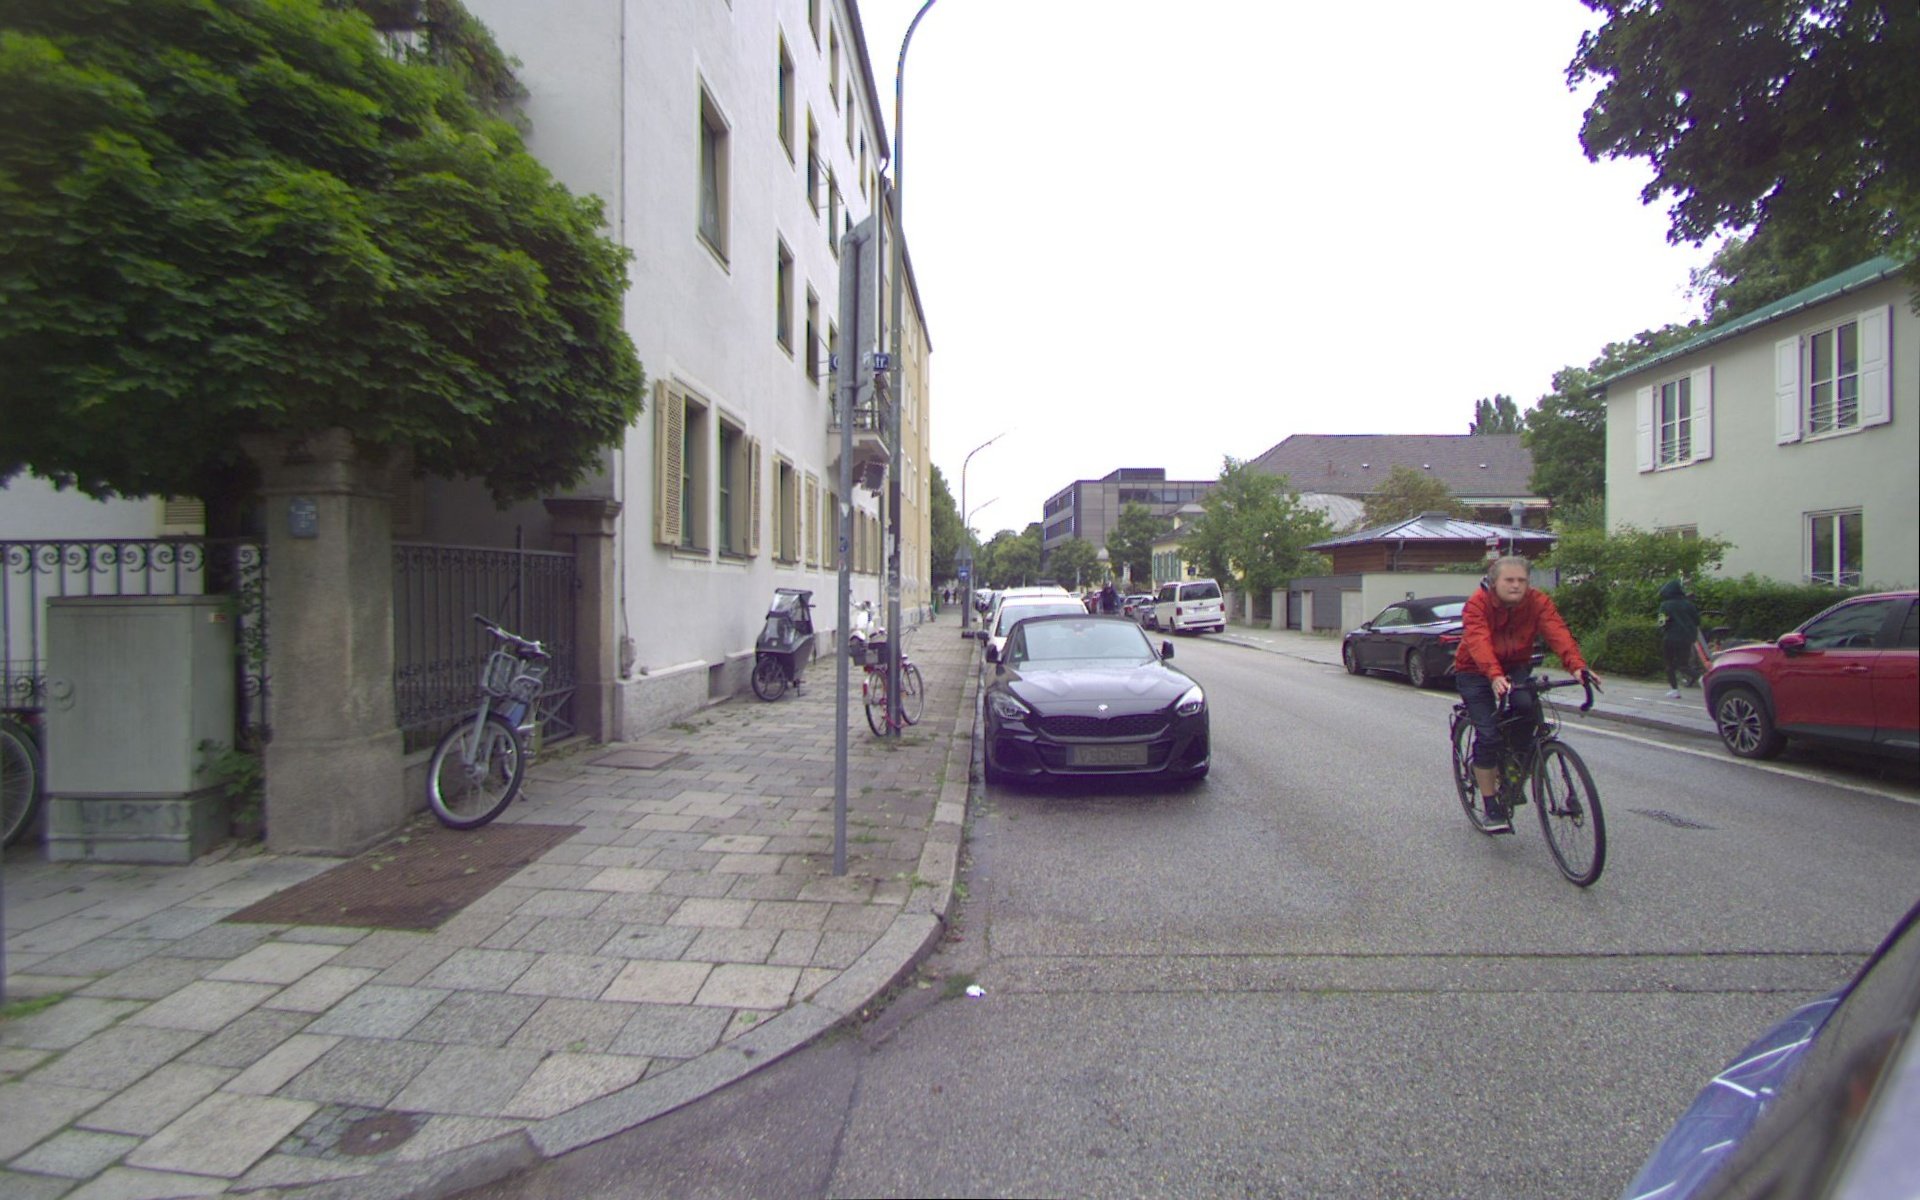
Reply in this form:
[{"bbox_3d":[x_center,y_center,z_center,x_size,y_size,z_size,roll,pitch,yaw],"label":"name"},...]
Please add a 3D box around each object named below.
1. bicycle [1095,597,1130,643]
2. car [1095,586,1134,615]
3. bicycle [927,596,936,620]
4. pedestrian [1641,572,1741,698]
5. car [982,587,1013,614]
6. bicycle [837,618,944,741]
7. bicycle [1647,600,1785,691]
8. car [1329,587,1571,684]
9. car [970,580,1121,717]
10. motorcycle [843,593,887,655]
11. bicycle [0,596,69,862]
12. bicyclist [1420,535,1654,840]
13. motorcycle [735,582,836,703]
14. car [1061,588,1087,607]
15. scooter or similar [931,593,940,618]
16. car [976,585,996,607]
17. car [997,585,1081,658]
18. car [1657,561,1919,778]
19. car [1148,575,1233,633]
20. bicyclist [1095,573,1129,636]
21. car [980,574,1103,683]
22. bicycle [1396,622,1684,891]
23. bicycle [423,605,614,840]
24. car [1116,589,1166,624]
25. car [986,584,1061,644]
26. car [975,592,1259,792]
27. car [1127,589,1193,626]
[{"bbox_3d":[4.235,0.557,28.203,0.707,1.222,1.800,-2,-1,2],"label":"bicycle"},{"bbox_3d":[9.182,0.011,60.507,1.818,1.628,4.739,-2,1,3],"label":"car"},{"bbox_3d":[-1.357,0.380,48.487,0.336,1.149,1.758,0,0,1],"label":"bicycle"},{"bbox_3d":[9.553,0.442,13.245,0.702,1.568,0.753,-2,0,-1],"label":"pedestrian"},{"bbox_3d":[2.501,-0.001,66.335,1.964,1.651,5.095,-2,1,3],"label":"car"},{"bbox_3d":[-0.658,0.745,10.275,0.654,1.077,1.933,0,0,9],"label":"bicycle"},{"bbox_3d":[10.414,0.583,14.040,0.641,1.144,2.042,0,0,9],"label":"bicycle"},{"bbox_3d":[8.325,0.518,17.812,1.778,1.419,4.925,-2,1,-1],"label":"car"},{"bbox_3d":[1.185,0.588,14.402,1.745,1.565,3.707,-5,0,4],"label":"car"},{"bbox_3d":[-2.063,0.495,22.248,0.721,1.254,2.007,-2,1,1],"label":"motorcycle"},{"bbox_3d":[-5.625,0.644,5.093,1.883,1.292,0.467,-1,-1,0],"label":"bicycle"},{"bbox_3d":[3.084,0.431,5.515,0.744,1.501,0.980,-1,0,7],"label":"bicyclist"},{"bbox_3d":[-2.255,0.496,13.462,0.843,1.451,2.706,0,0,1],"label":"motorcycle"},{"bbox_3d":[9.571,-0.194,85.139,1.698,1.511,4.460,-2,1,1],"label":"car"},{"bbox_3d":[-1.265,0.281,52.269,0.336,1.271,1.309,2,1,1],"label":"scooter or similar"},{"bbox_3d":[2.367,-0.385,93.111,1.757,1.919,4.573,-2,1,1],"label":"car"},{"bbox_3d":[1.848,0.449,24.299,1.811,1.551,4.412,1,0,3],"label":"car"},{"bbox_3d":[8.035,0.480,8.085,1.858,1.610,4.526,-2,1,2],"label":"car"},{"bbox_3d":[8.674,0.115,38.584,1.935,2.015,5.152,-2,1,-1],"label":"car"},{"bbox_3d":[4.235,0.128,28.252,0.766,1.688,1.034,-1,-1,2],"label":"bicyclist"},{"bbox_3d":[1.432,0.453,19.015,1.963,1.728,4.531,-2,0,2],"label":"car"},{"bbox_3d":[3.121,0.753,5.706,0.663,1.156,2.007,-1,1,7],"label":"bicycle"},{"bbox_3d":[-2.724,0.677,6.441,0.533,1.241,1.778,0,1,-3],"label":"bicycle"},{"bbox_3d":[8.842,0.275,49.644,1.831,1.564,4.185,2,1,3],"label":"car"},{"bbox_3d":[1.785,0.350,29.743,1.830,1.597,4.900,1,0,-1],"label":"car"},{"bbox_3d":[1.188,0.634,9.521,1.969,1.335,4.593,2,1,2],"label":"car"},{"bbox_3d":[8.743,0.297,44.556,1.857,1.563,4.697,0,0,-1],"label":"car"}]
